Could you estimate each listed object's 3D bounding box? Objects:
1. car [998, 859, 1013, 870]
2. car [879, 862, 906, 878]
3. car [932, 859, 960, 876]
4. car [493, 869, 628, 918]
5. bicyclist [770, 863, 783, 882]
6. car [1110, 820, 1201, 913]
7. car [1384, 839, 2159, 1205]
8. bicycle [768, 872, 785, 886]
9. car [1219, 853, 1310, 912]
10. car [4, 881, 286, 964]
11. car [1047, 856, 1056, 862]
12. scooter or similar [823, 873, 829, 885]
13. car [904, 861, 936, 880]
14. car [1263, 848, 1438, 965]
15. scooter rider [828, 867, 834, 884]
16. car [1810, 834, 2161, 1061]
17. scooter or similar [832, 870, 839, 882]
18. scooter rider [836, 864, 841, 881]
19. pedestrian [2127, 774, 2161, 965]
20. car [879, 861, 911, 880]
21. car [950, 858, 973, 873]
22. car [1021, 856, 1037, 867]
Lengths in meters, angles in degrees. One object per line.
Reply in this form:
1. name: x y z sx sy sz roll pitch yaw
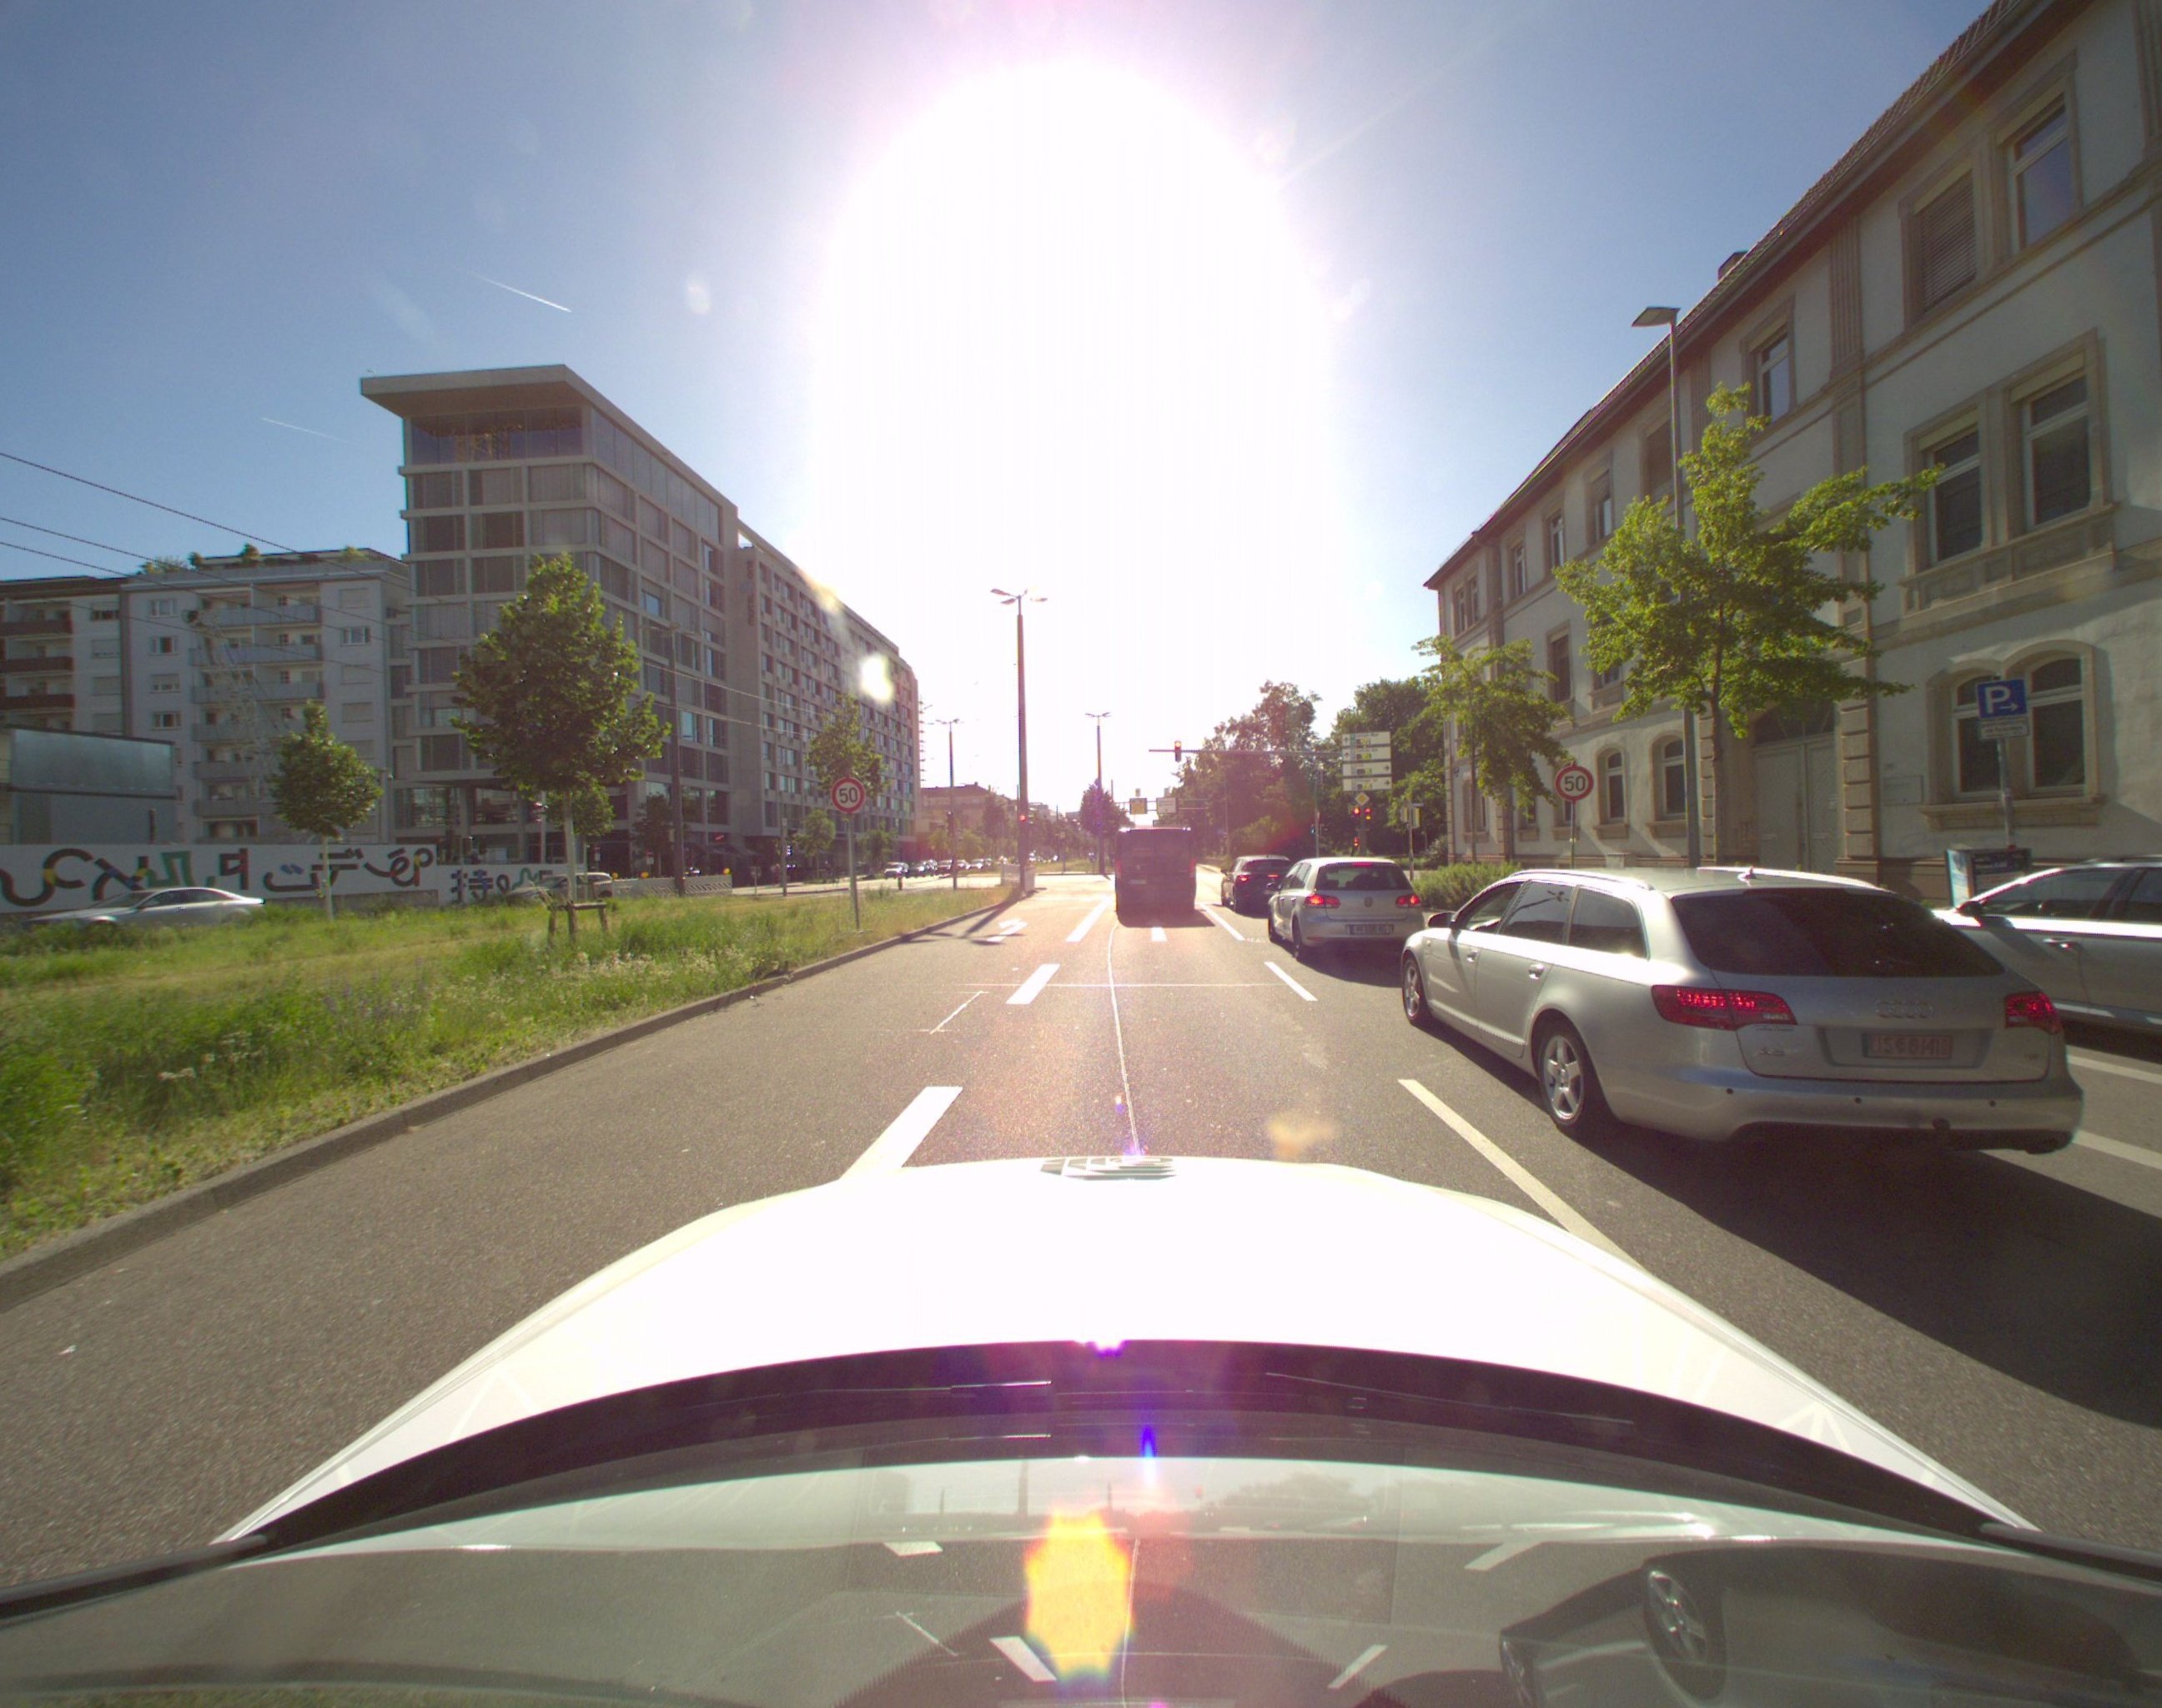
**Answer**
1. car: -12.414 1.719 133.939 1.781 1.651 4.006 -2 0 5
2. car: -21.324 1.796 92.306 1.781 1.651 4.006 -2 0 5
3. car: -13.770 1.366 83.469 1.781 1.651 4.006 -2 0 5
4. car: -21.998 1.636 34.640 1.977 1.792 4.549 -2 0 19
5. bicyclist: -25.102 1.499 67.140 0.590 1.580 0.894 0 -1 9
6. car: 1.970 0.284 22.187 2.208 2.267 4.489 0 0 4
7. car: 3.624 0.655 5.675 1.738 1.427 4.848 -1 0 7
8. bicycle: -25.149 2.070 67.209 0.583 1.100 1.626 0 -1 9
9. car: 4.801 0.703 21.777 1.784 1.428 3.853 0 0 3
10. car: -24.832 1.728 21.917 1.980 1.792 4.542 -2 0 12
11. car: -7.809 1.298 216.272 1.781 1.651 4.006 -2 0 5
12. scooter or similar: -22.072 2.153 70.473 0.285 0.947 0.767 -2 0 -2
13. car: -14.896 1.488 75.370 1.781 1.651 4.006 -2 0 5
14. car: 3.986 0.689 12.720 1.741 1.527 4.011 -1 0 5
15. scooter rider: -21.652 1.872 70.586 0.340 1.453 0.239 -2 0 5
16. car: 8.283 0.631 6.087 1.640 1.475 4.706 -4 0 5
17. scooter or similar: -21.172 1.896 70.217 0.227 0.947 0.768 -2 0 5
18. scooter rider: -20.962 1.632 70.377 0.340 1.453 0.239 -2 0 5
19. pedestrian: 11.124 0.138 8.044 0.655 1.913 0.588 -5 0 4
20. car: -17.732 1.567 77.881 1.781 1.651 4.006 -2 0 5
21. car: -14.893 1.430 101.759 1.781 1.651 4.006 -2 0 5
22. car: -7.951 1.133 125.596 1.781 1.651 4.006 -2 0 5
